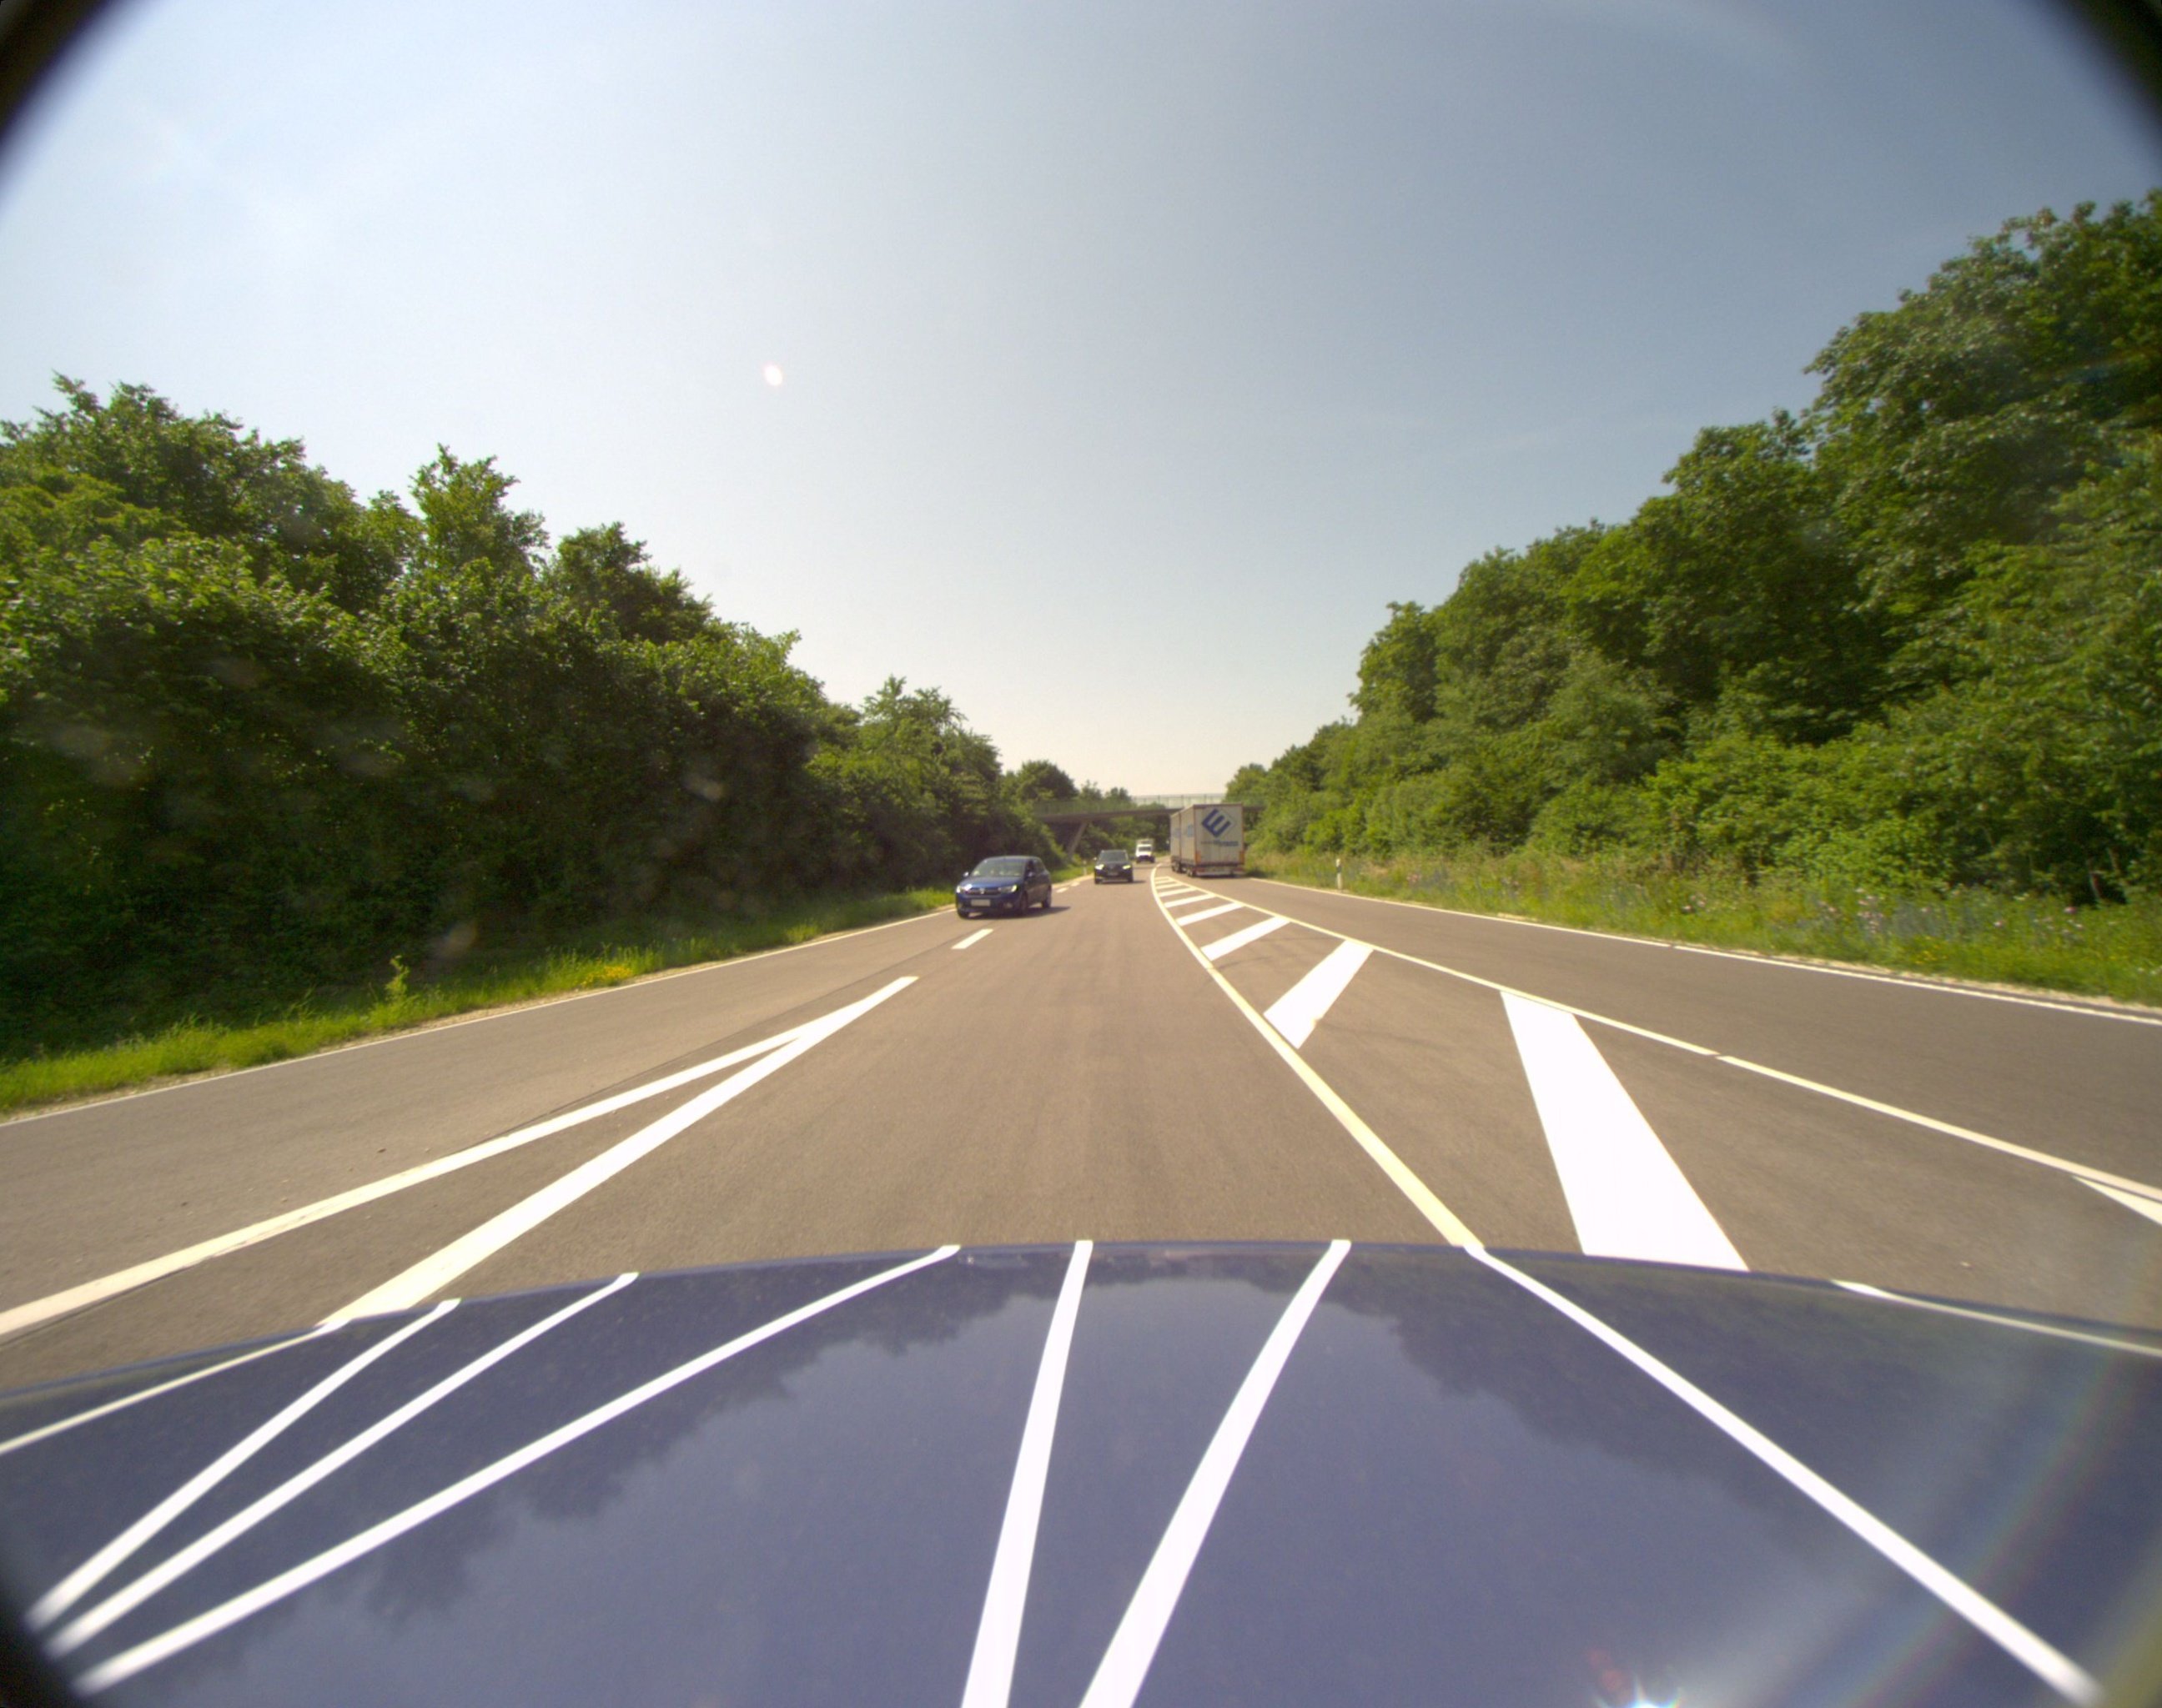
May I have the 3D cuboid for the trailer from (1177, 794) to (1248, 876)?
[{"bbox_3d":[7.345,-1.004,43.596,2.835,4.072,9.002,-2,0,3],"label":"trailer"}]

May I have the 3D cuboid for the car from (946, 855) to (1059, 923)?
[{"bbox_3d":[-1.979,0.853,20.396,1.806,1.532,3.948,-2,1,12],"label":"car"}]

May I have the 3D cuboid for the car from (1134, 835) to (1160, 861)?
[{"bbox_3d":[8.245,-0.749,93.982,2.590,3.047,6.886,-2,1,10],"label":"car"}]

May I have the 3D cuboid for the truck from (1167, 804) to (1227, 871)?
[{"bbox_3d":[7.813,-1.060,52.732,2.804,4.072,11.064,-2,0,2],"label":"truck"}]

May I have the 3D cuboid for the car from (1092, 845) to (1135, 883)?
[{"bbox_3d":[1.742,0.432,38.929,1.923,1.711,5.480,-2,1,5],"label":"car"}]
